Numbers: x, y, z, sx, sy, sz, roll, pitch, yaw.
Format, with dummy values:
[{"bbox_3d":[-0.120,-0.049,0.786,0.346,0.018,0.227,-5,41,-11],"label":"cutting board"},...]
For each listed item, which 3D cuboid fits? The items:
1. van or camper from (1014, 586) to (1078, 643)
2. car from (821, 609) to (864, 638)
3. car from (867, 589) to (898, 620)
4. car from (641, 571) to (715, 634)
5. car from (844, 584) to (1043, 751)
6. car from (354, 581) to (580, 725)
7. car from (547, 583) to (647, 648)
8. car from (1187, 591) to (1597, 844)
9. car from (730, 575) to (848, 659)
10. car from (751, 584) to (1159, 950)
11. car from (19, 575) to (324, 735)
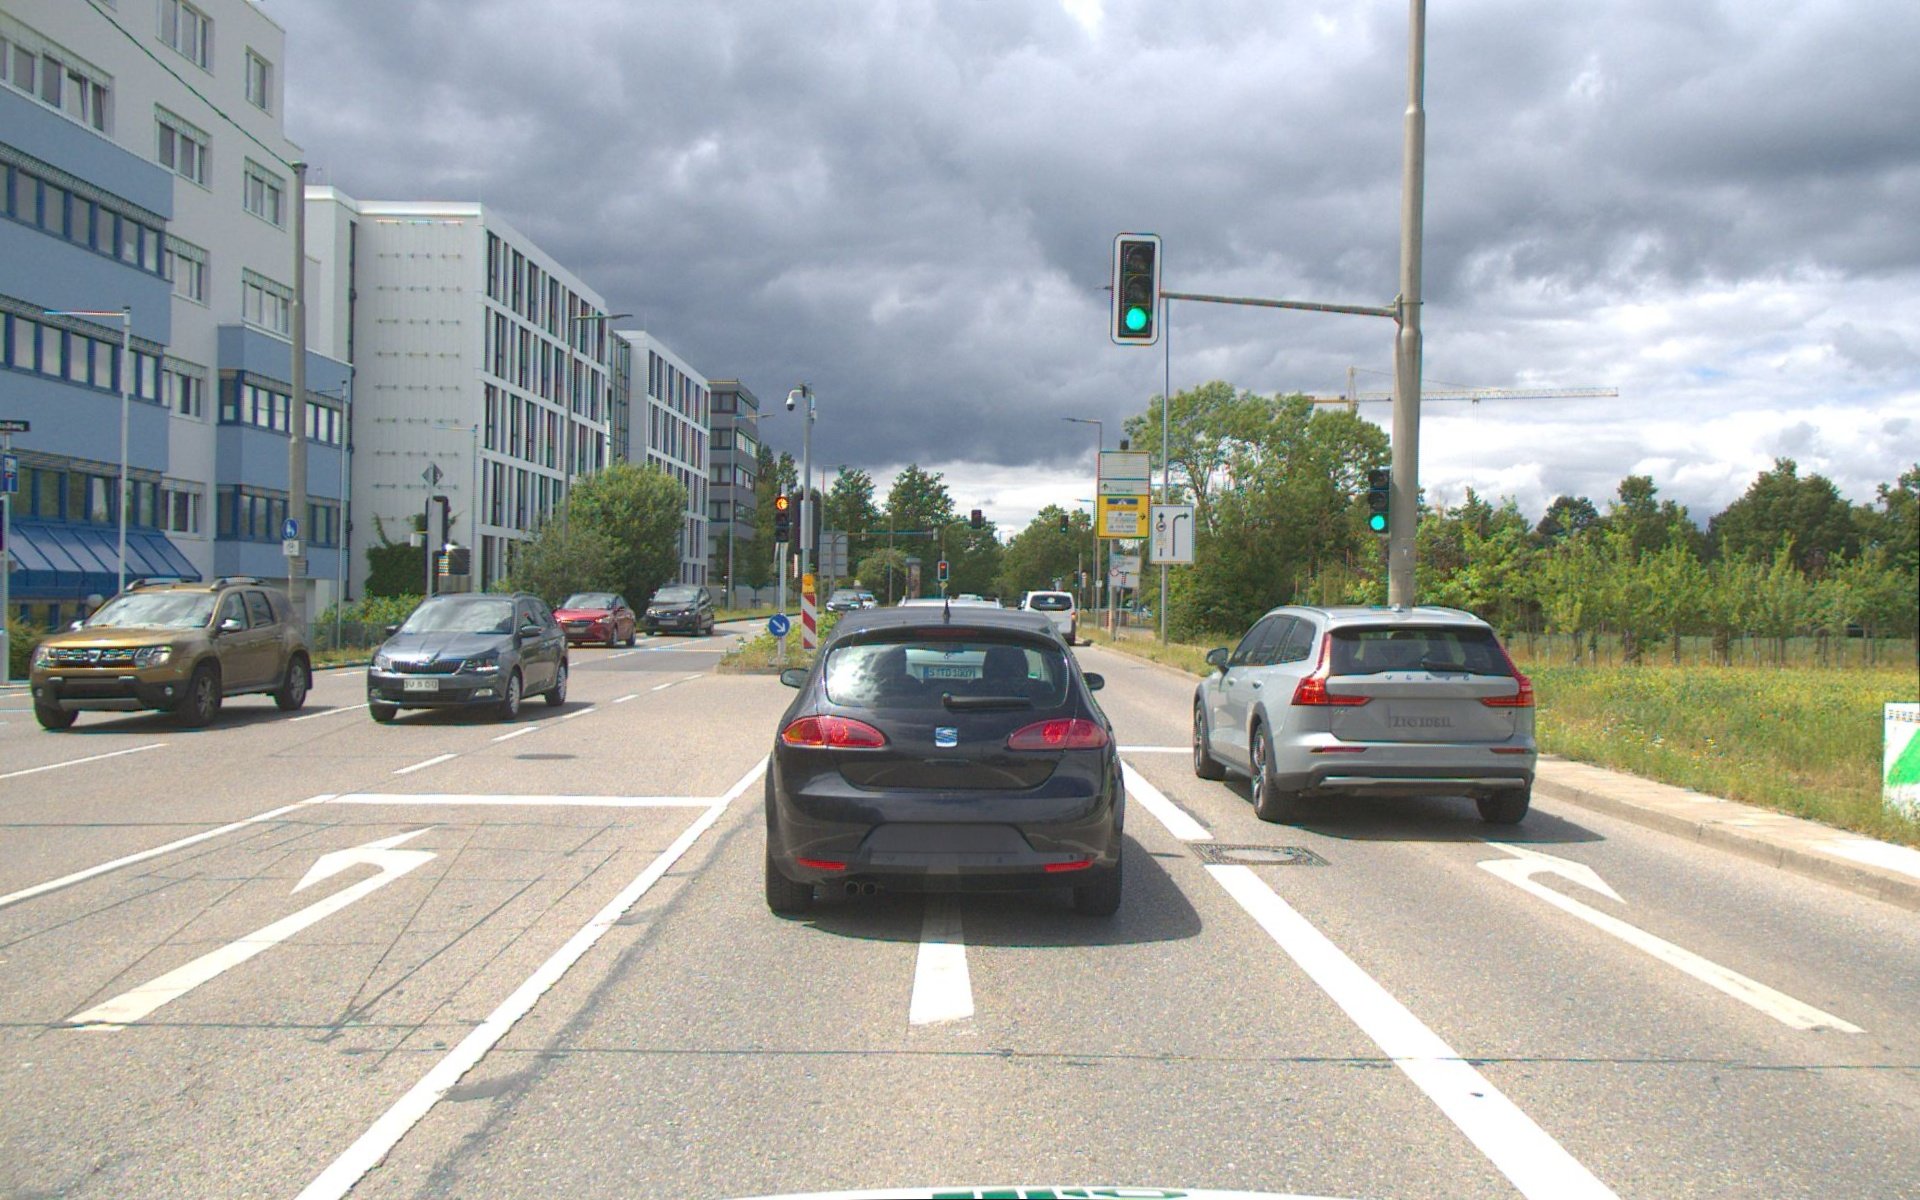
[{"bbox_3d":[3.041,0.506,59.060,1.861,1.959,3.997,0,-1,-4],"label":"van or camper"},{"bbox_3d":[-5.959,1.177,84.431,1.953,1.434,3.999,0,-1,-1],"label":"car"},{"bbox_3d":[-5.222,0.318,111.784,1.953,2.049,3.999,0,-1,-1],"label":"car"},{"bbox_3d":[-9.573,0.112,56.490,1.954,2.049,4.478,0,-1,-3],"label":"car"},{"bbox_3d":[-0.217,0.644,18.451,1.943,1.618,4.225,1,1,-2],"label":"car"},{"bbox_3d":[-5.941,0.566,20.402,1.635,1.551,4.007,0,1,-1],"label":"car"},{"bbox_3d":[-9.665,0.413,44.343,1.739,1.640,4.000,0,-1,1],"label":"car"},{"bbox_3d":[3.014,0.757,12.563,1.918,1.552,4.339,-1,-1,-1],"label":"car"},{"bbox_3d":[-3.205,0.317,31.644,1.808,1.487,4.055,0,-1,0],"label":"car"},{"bbox_3d":[0.067,0.731,9.102,1.711,1.510,4.001,2,0,3],"label":"car"},{"bbox_3d":[-9.143,0.584,19.565,1.715,1.659,3.999,-1,0,-1],"label":"car"}]
